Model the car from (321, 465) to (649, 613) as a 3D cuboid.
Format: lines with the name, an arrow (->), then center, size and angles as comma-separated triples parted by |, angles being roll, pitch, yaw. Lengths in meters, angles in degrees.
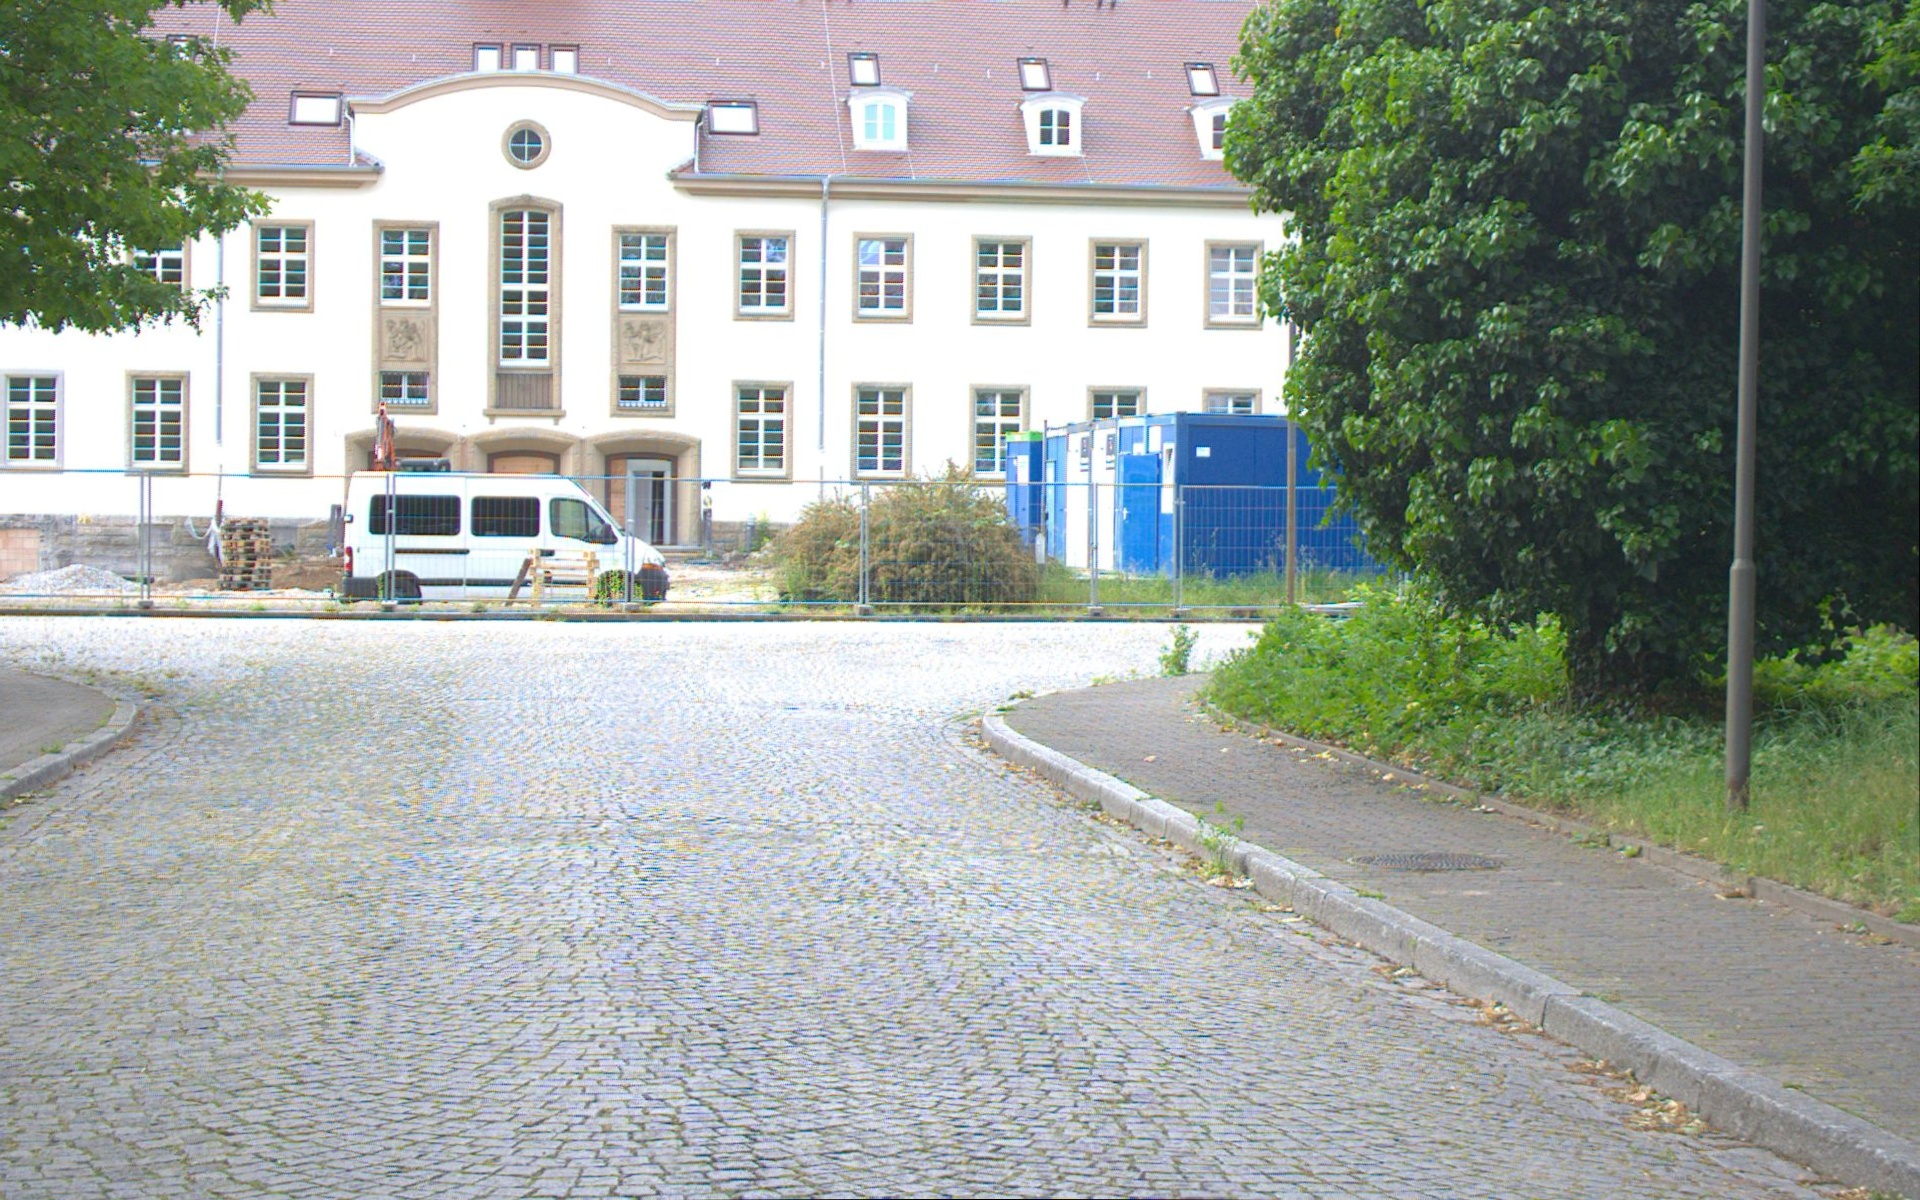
car -> -7.810, -1.012, 56.841 | 5.261, 2.336, 1.910 | 1, 1, -6

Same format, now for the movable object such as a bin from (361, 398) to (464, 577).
movable object such as a bin -> -12.076, -2.444, 75.560 | 1.993, 3.758, 5.319 | 1, 1, -11
